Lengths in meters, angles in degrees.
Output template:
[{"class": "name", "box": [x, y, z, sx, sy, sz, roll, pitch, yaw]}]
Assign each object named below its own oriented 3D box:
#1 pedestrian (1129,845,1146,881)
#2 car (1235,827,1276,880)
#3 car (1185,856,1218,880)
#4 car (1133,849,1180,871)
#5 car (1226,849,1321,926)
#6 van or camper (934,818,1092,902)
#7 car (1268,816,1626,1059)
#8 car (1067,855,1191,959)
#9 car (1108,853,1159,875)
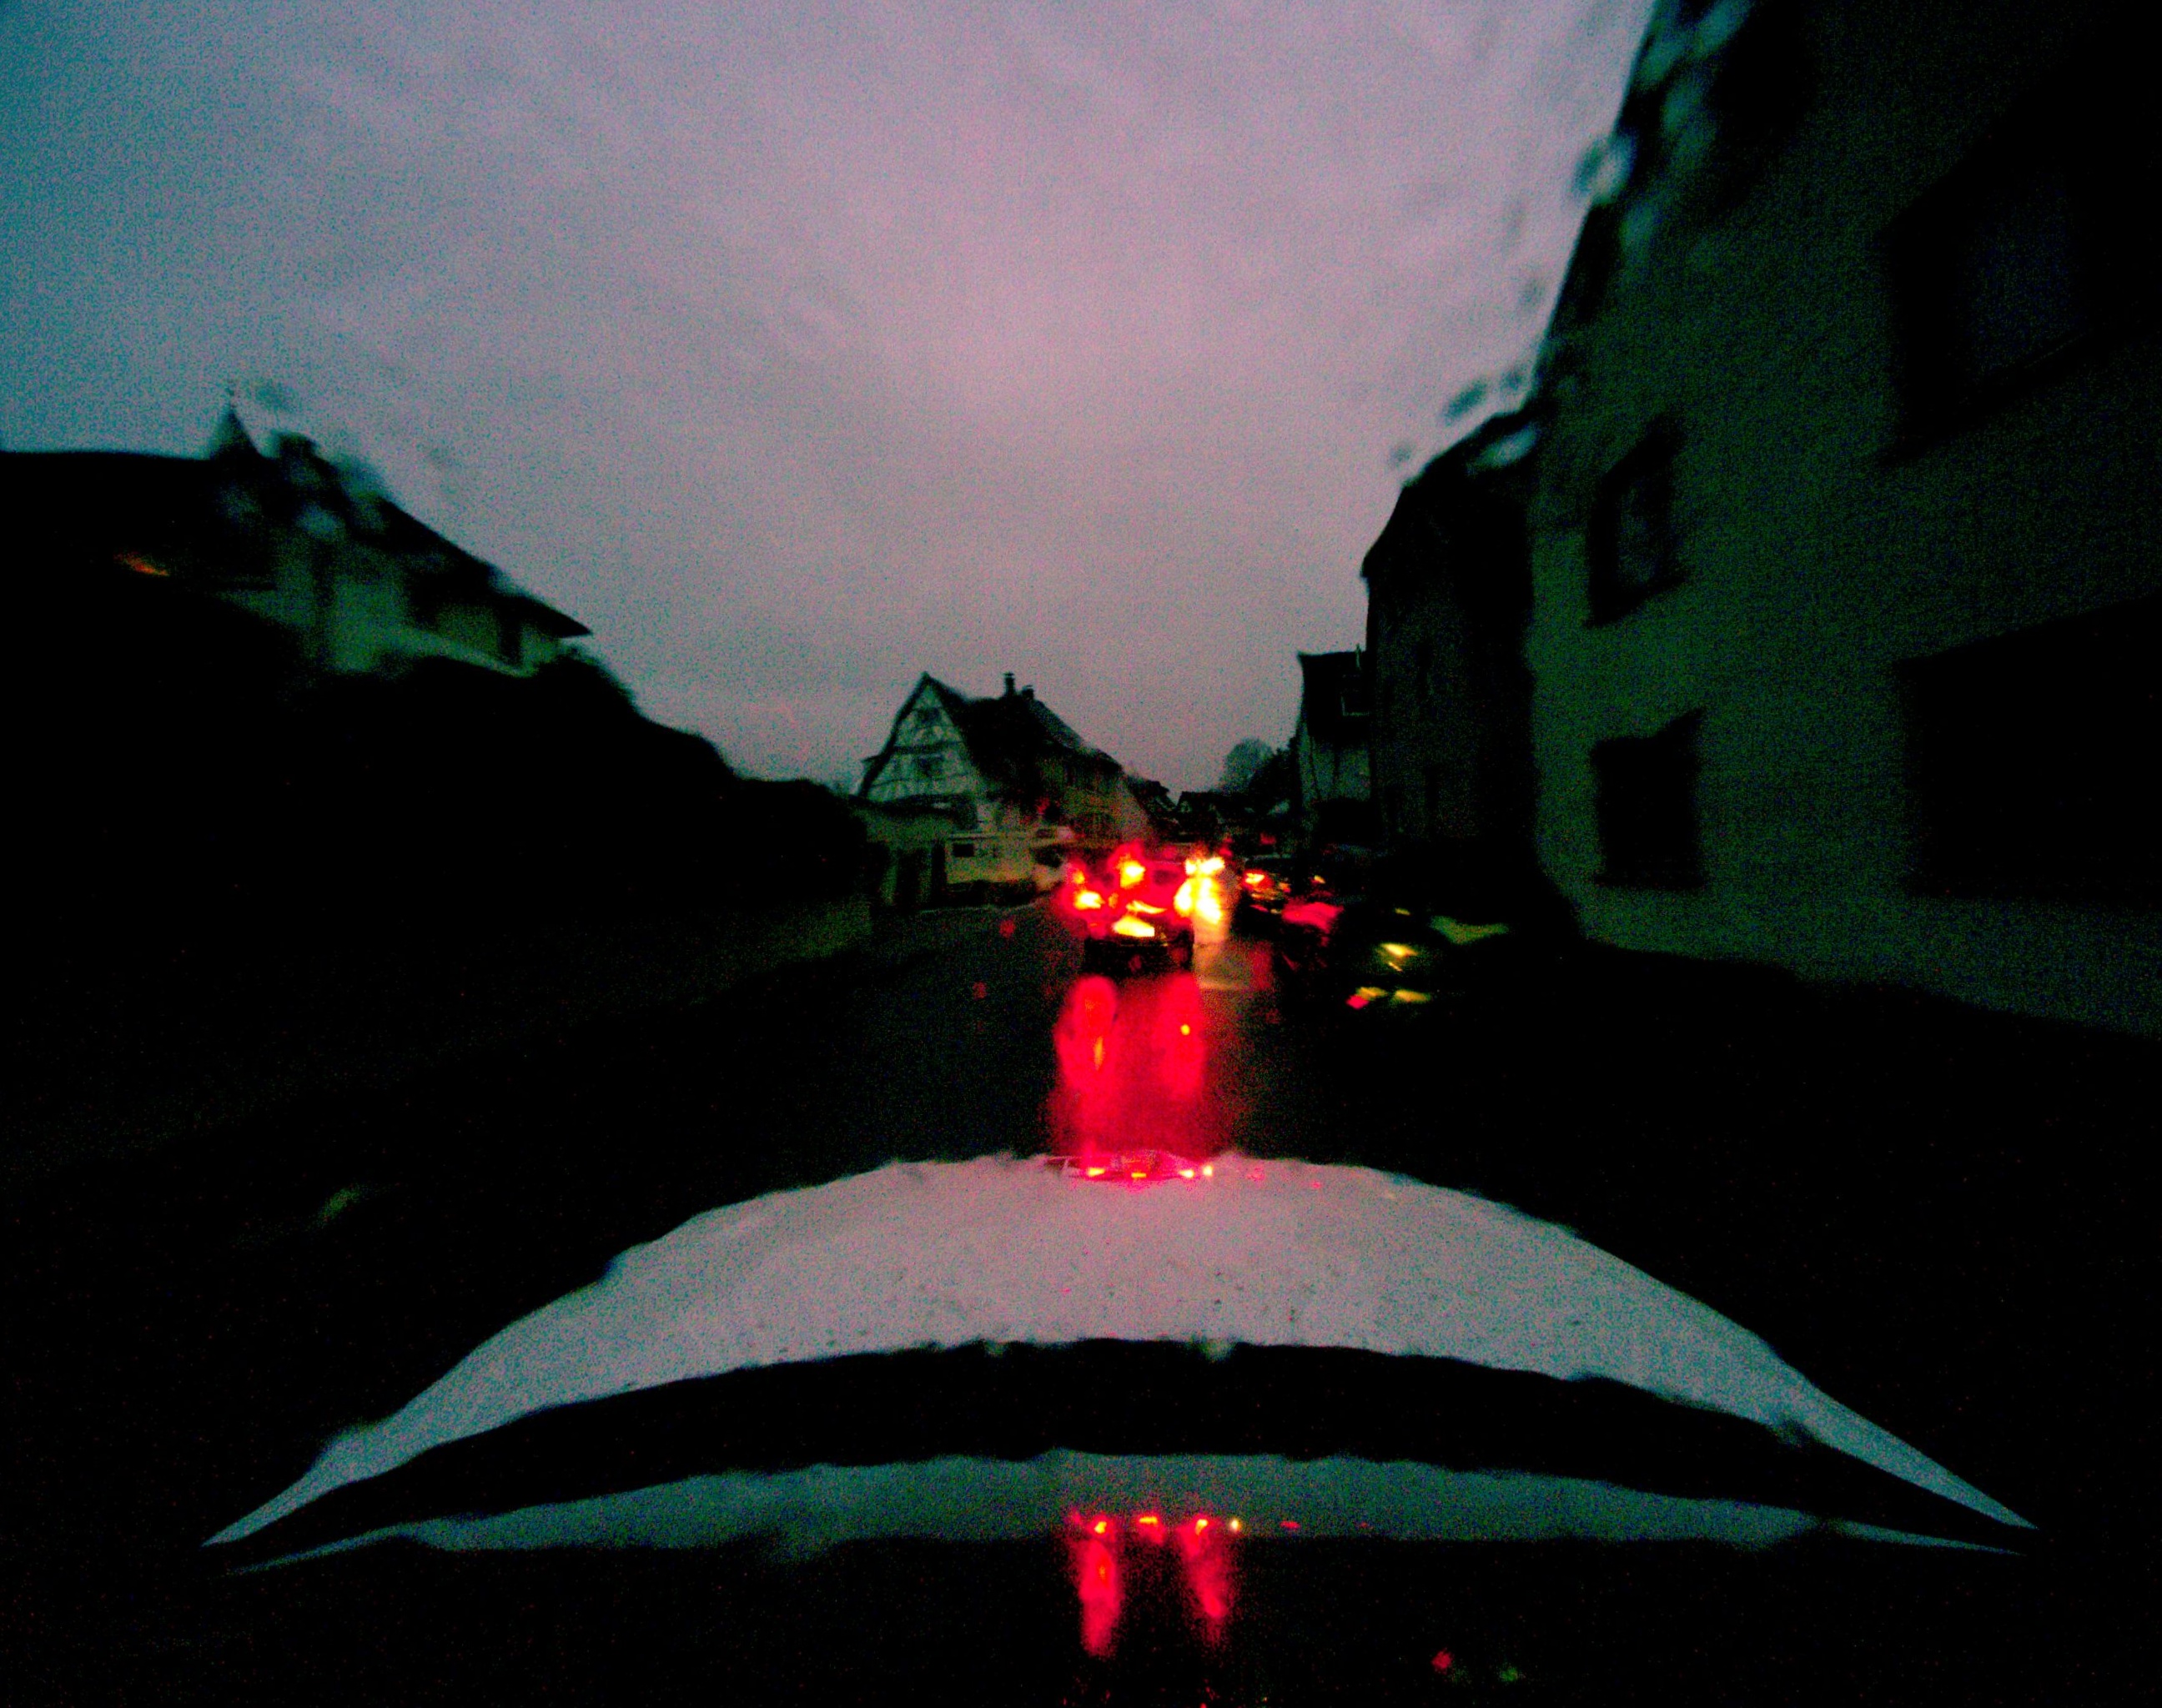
[{"class": "pedestrian", "box": [3.296, 0.524, 47.751, 0.868, 2.013, 0.797, -2, 0, 8]}, {"class": "car", "box": [8.476, -0.045, 39.796, 1.802, 2.413, 3.763, -2, 0, 11]}, {"class": "car", "box": [7.995, 0.880, 53.890, 1.856, 1.402, 4.380, -2, 0, 12]}, {"class": "car", "box": [5.856, 0.458, 63.109, 3.485, 1.507, 1.697, -2, 0, 10]}, {"class": "car", "box": [4.292, 0.683, 18.668, 1.787, 1.534, 4.010, -2, 0, 9]}, {"class": "van or camper", "box": [-2.845, 0.271, 34.690, 6.017, 2.955, 2.415, -5, -1, 14]}, {"class": "car", "box": [2.974, 0.585, 7.724, 1.838, 1.637, 4.343, -1, 0, 6]}, {"class": "car", "box": [0.954, 0.781, 13.849, 1.785, 1.476, 4.008, -1, 0, 7]}, {"class": "car", "box": [3.929, 0.721, 60.851, 3.481, 1.507, 1.699, -2, 0, 16]}]
